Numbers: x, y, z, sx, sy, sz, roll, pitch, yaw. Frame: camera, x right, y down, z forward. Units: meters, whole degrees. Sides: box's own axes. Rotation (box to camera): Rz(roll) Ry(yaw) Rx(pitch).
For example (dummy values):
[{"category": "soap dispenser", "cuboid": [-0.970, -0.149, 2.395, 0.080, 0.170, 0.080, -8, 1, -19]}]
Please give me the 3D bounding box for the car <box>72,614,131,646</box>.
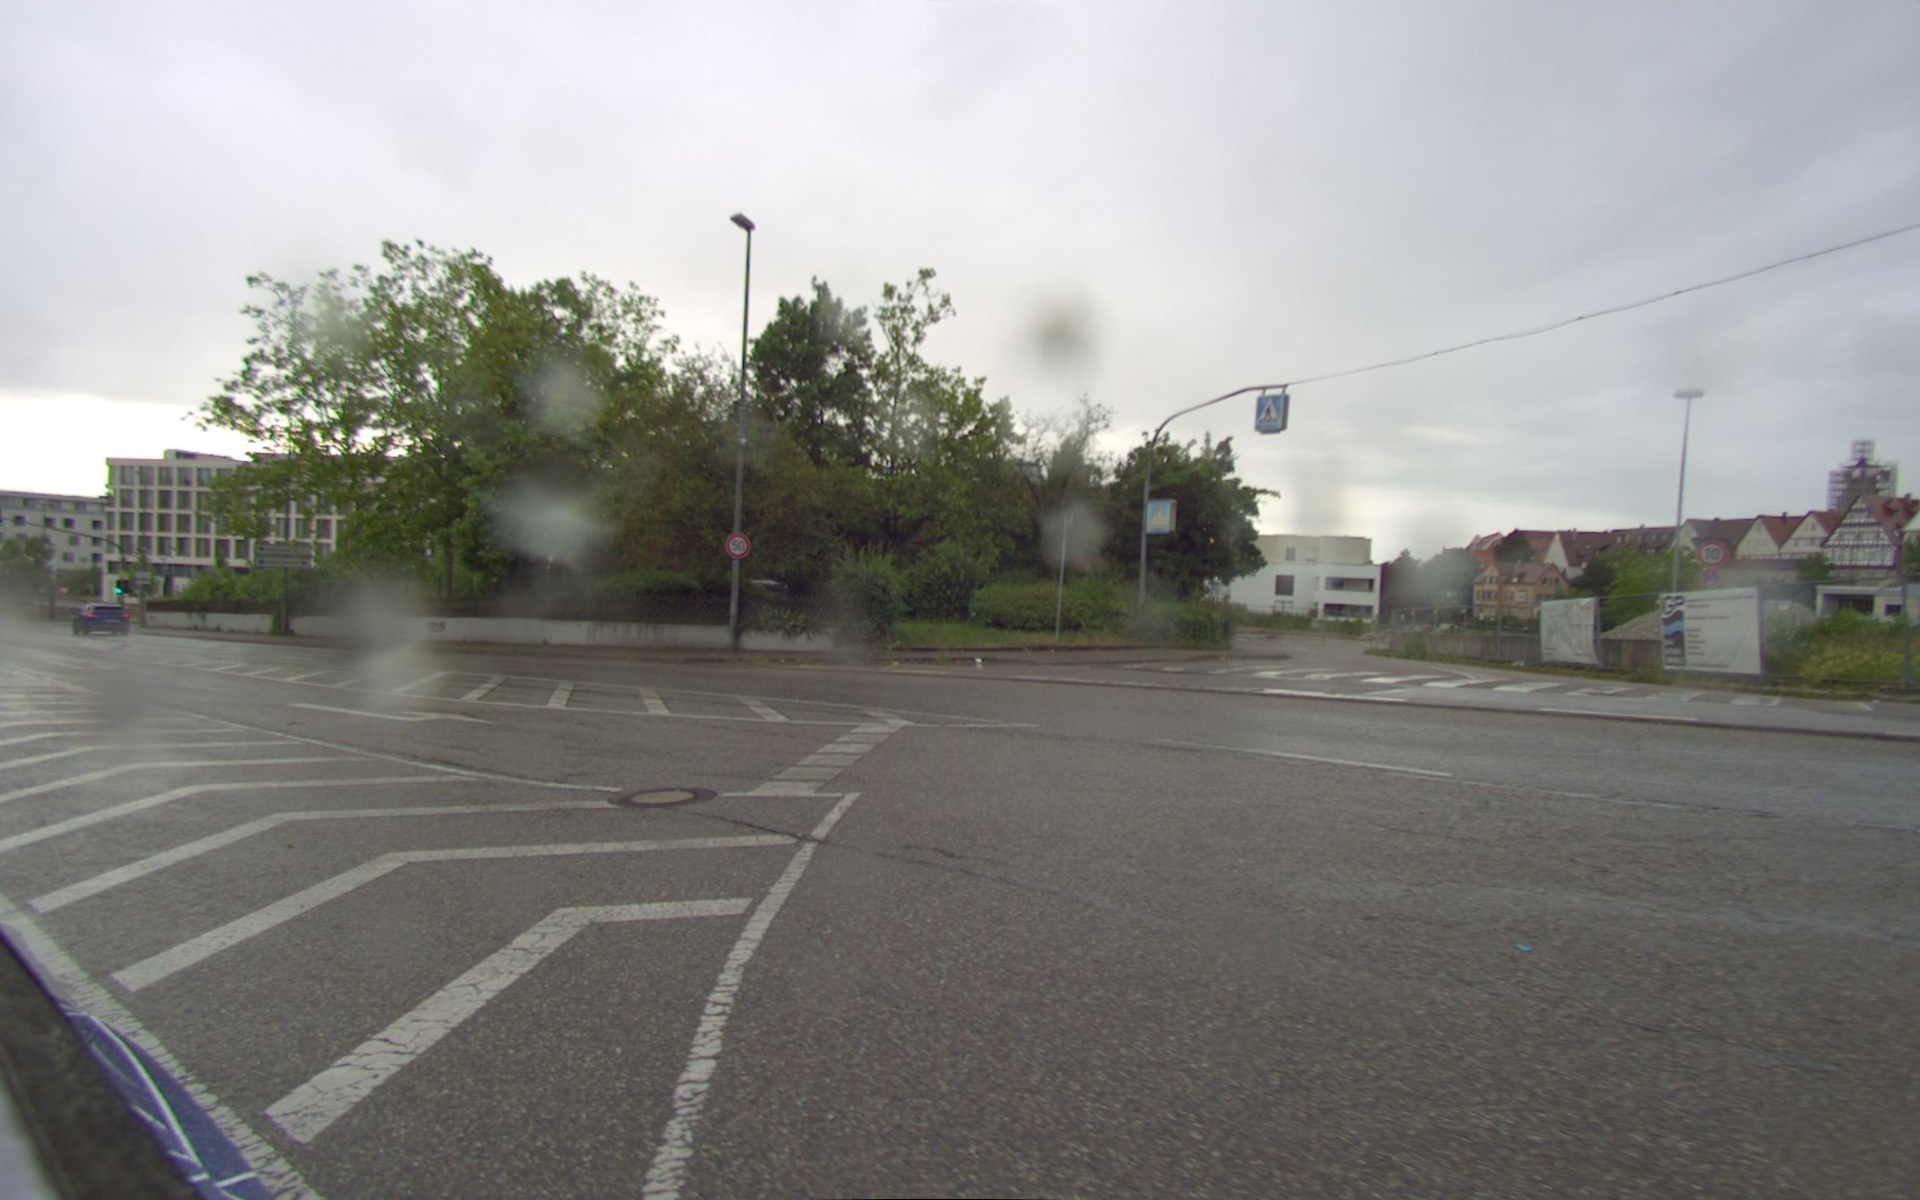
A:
[{"category": "car", "cuboid": [-44.693, 1.538, 52.665, 3.999, 1.526, 1.794, 0, 0, 41]}]
